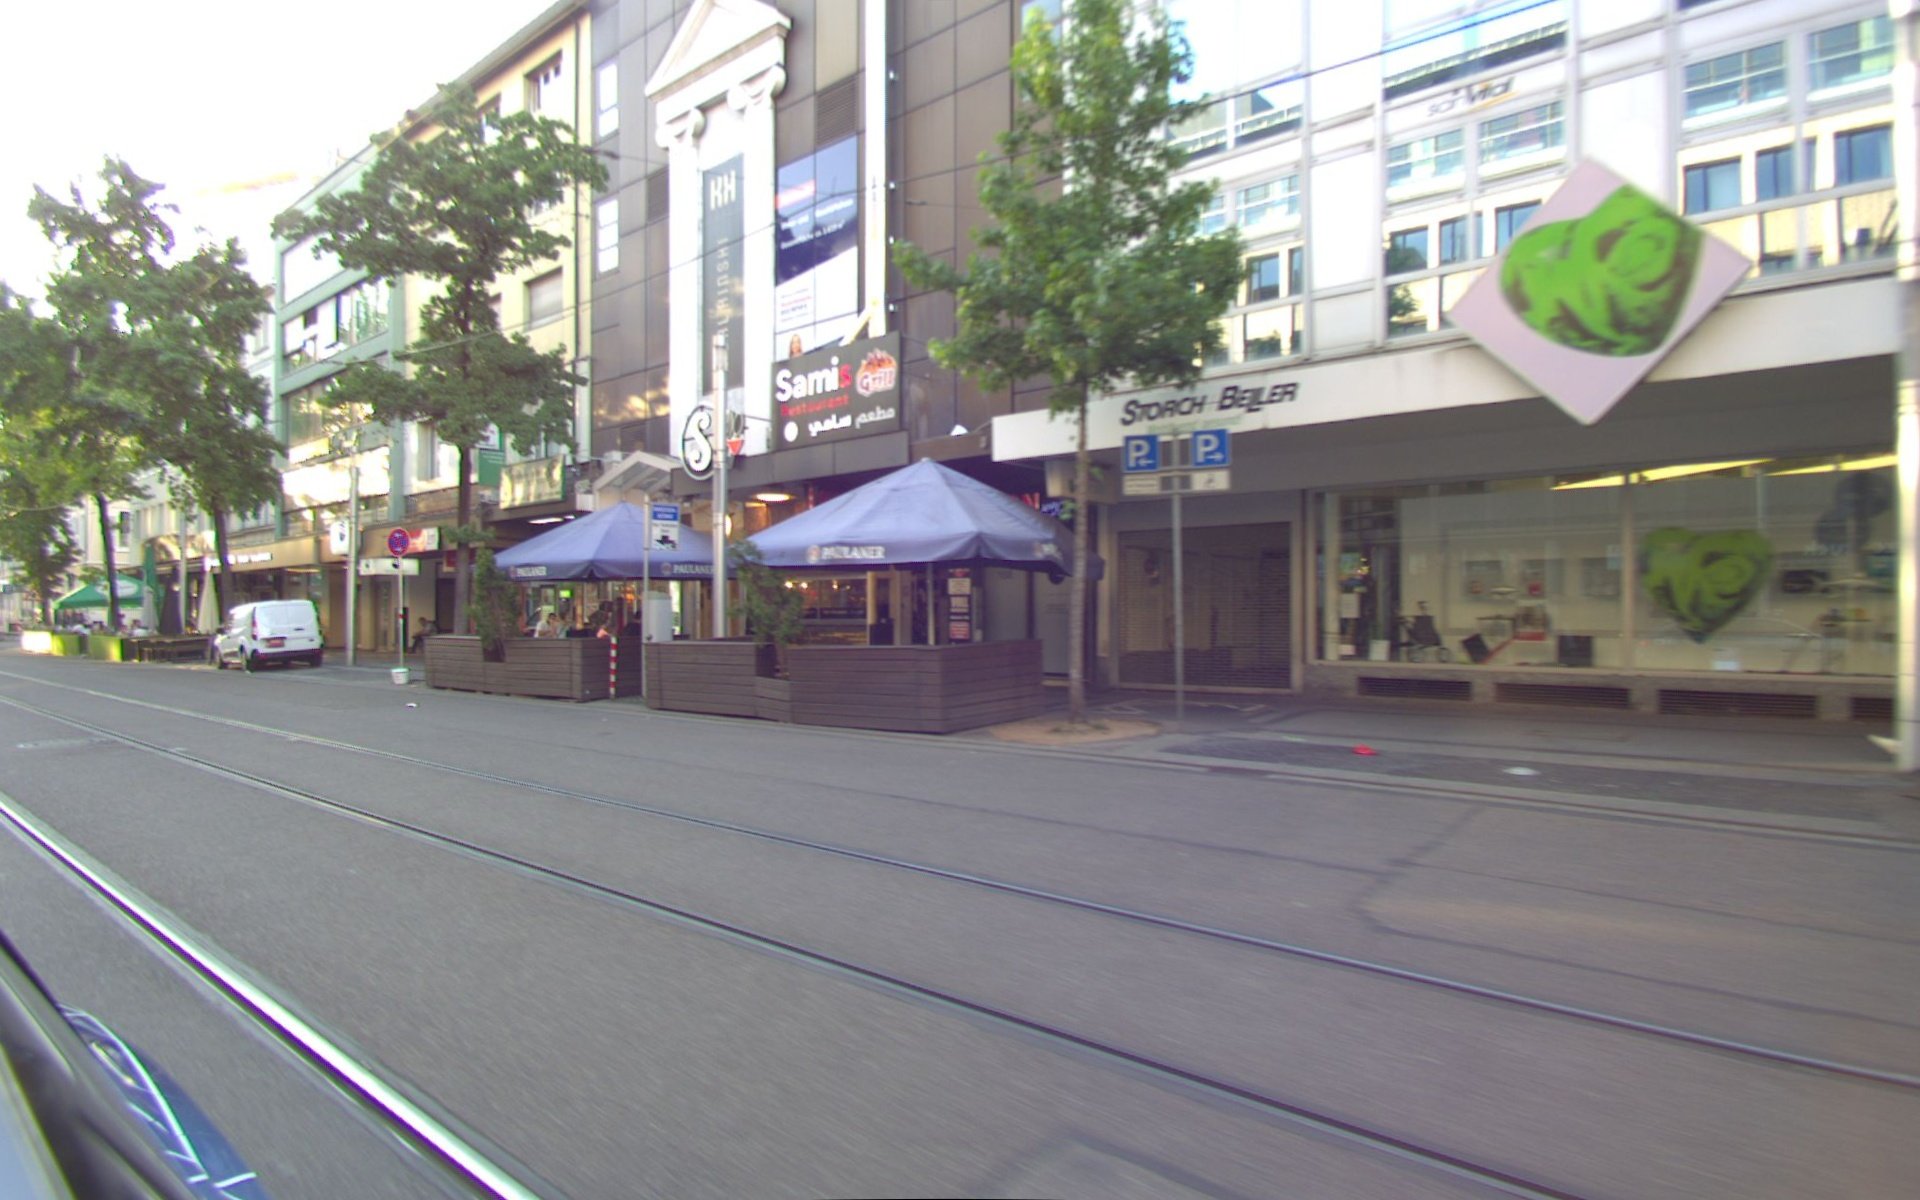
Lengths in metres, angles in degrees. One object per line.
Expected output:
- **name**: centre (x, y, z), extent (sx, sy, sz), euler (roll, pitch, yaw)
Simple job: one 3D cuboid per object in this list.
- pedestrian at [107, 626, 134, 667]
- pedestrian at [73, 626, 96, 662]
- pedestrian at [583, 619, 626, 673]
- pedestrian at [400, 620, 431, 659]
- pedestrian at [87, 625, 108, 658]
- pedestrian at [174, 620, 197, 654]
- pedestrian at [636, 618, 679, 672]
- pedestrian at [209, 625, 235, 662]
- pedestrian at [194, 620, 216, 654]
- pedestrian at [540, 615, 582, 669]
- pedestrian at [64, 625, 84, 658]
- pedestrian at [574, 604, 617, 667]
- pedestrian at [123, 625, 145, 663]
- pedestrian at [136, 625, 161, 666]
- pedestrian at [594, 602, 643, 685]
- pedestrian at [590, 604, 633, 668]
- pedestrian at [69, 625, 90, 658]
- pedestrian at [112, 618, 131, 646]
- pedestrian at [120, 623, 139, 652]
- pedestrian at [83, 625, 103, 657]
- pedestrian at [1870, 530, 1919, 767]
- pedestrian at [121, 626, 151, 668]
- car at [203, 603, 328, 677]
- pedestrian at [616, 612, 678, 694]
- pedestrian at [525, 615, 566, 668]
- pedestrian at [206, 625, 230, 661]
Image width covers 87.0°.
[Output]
- **pedestrian**: centre (-30.451, 1.677, 36.696), extent (0.650, 1.471, 0.641), euler (-1, -1, 41)
- **pedestrian**: centre (-35.256, 1.767, 40.753), extent (0.640, 1.396, 0.651), euler (1, -2, -43)
- **pedestrian**: centre (-8.072, 1.030, 22.988), extent (0.665, 1.165, 0.635), euler (0, 2, 38)
- **pedestrian**: centre (-17.153, 1.237, 31.902), extent (0.648, 1.184, 0.642), euler (-1, 0, 35)
- **pedestrian**: centre (-37.543, 1.793, 44.047), extent (0.640, 1.396, 0.651), euler (1, -2, -43)
- **pedestrian**: centre (-34.619, 1.654, 45.245), extent (0.649, 1.471, 0.642), euler (-1, -1, 37)
- **pedestrian**: centre (-6.872, 1.017, 22.981), extent (0.665, 1.165, 0.635), euler (0, 2, 38)
- **pedestrian**: centre (-29.786, 1.745, 40.867), extent (0.648, 1.471, 0.643), euler (-1, -1, 31)
- **pedestrian**: centre (-33.598, 1.643, 45.045), extent (0.649, 1.471, 0.642), euler (-1, -1, 37)
- **pedestrian**: centre (-9.616, 0.998, 24.411), extent (0.665, 1.237, 0.635), euler (0, 4, 38)
- **pedestrian**: centre (-38.884, 1.808, 44.415), extent (0.640, 1.396, 0.651), euler (1, -2, -43)
- **pedestrian**: centre (-8.792, 0.847, 24.401), extent (0.642, 1.444, 0.654), euler (0, 4, 40)
- **pedestrian**: centre (-32.102, 1.696, 39.348), extent (0.639, 1.471, 0.651), euler (0, -1, -37)
- **pedestrian**: centre (-29.833, 1.670, 37.202), extent (0.639, 1.471, 0.652), euler (0, -1, -33)
- **pedestrian**: centre (-6.649, 0.829, 19.712), extent (0.564, 1.564, 0.650), euler (0, 2, 38)
- **pedestrian**: centre (-8.236, 0.841, 23.946), extent (0.642, 1.444, 0.654), euler (0, 4, 40)
- **pedestrian**: centre (-37.937, 1.797, 43.614), extent (0.640, 1.396, 0.651), euler (1, -2, -43)
- **pedestrian**: centre (-44.163, 1.700, 53.328), extent (0.649, 1.471, 0.642), euler (-1, -1, 38)
- **pedestrian**: centre (-42.779, 1.907, 52.122), extent (0.649, 1.471, 0.642), euler (-1, -1, 38)
- **pedestrian**: centre (-38.431, 1.803, 44.873), extent (0.640, 1.396, 0.651), euler (1, -2, -43)
- **pedestrian**: centre (7.698, 0.359, 7.784), extent (0.676, 1.806, 0.991), euler (-3, 2, -45)
- **pedestrian**: centre (-29.553, 1.667, 36.308), extent (0.639, 1.471, 0.652), euler (0, -1, -20)
- **car**: centre (-19.357, 1.073, 28.139), extent (4.328, 1.835, 1.807), euler (-1, 2, 42)
- **pedestrian**: centre (-5.715, 0.955, 18.496), extent (0.746, 1.411, 0.756), euler (0, 2, 39)
- **pedestrian**: centre (-10.253, 1.005, 25.054), extent (0.665, 1.237, 0.635), euler (0, 4, 38)
- **pedestrian**: centre (-30.458, 1.753, 41.553), extent (0.649, 1.471, 0.642), euler (-1, -1, 38)
